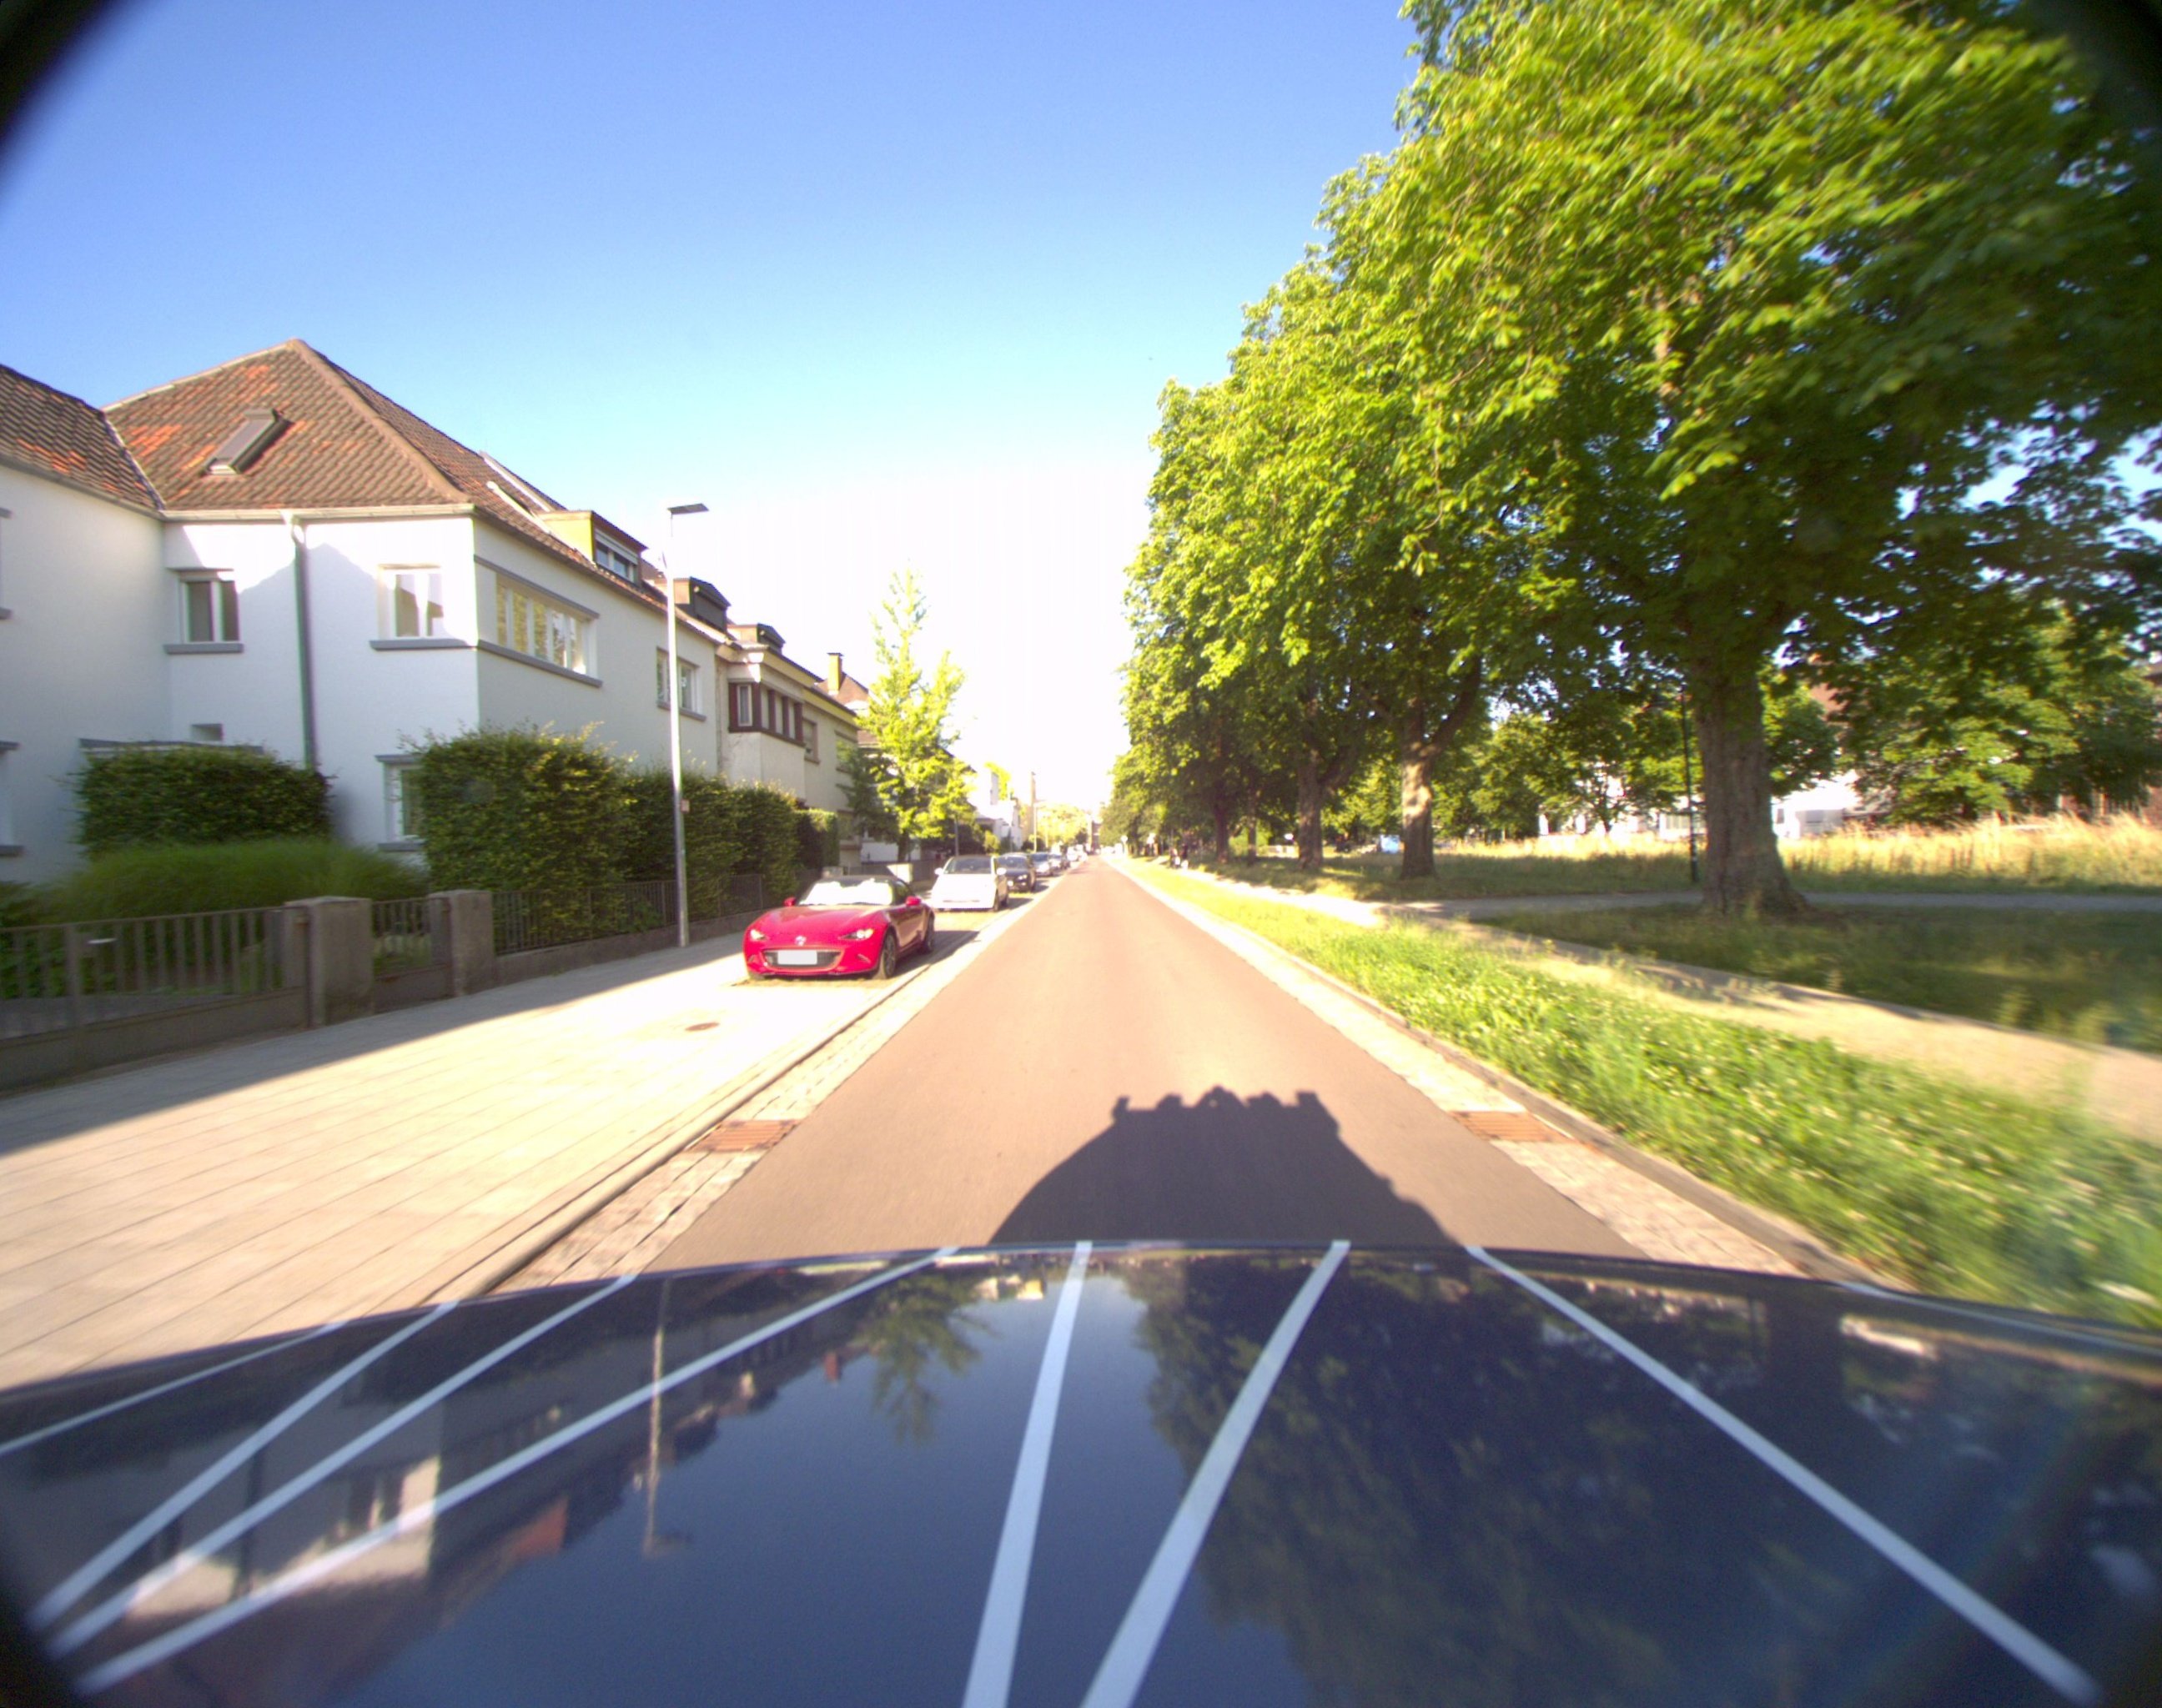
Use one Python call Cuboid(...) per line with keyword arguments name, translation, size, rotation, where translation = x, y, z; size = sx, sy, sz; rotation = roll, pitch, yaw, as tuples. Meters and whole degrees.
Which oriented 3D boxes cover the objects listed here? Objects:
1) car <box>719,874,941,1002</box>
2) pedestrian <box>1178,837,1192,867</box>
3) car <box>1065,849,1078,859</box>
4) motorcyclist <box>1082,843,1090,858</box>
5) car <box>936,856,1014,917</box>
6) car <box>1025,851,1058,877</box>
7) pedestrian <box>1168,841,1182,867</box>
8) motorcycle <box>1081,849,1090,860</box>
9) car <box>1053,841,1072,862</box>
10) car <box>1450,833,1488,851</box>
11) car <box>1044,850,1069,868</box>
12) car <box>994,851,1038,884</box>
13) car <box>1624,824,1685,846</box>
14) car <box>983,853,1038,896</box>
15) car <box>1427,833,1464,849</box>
Cuboid(name="car", translation=(-3.173, 0.994, 10.480), size=(1.702, 1.250, 3.879), rotation=(-1, 1, 1))
Cuboid(name="pedestrian", translation=(6.625, -0.129, 48.456), size=(0.625, 1.841, 0.606), rotation=(-1, 2, 40))
Cuboid(name="car", translation=(-1.398, -0.010, 114.405), size=(1.844, 1.471, 3.763), rotation=(-2, 0, 0))
Cuboid(name="motorcyclist", translation=(0.603, -0.473, 99.911), size=(0.961, 2.002, 1.273), rotation=(-3, 1, 0))
Cuboid(name="car", translation=(-2.794, 0.823, 20.647), size=(1.508, 1.471, 3.492), rotation=(0, 1, 2))
Cuboid(name="car", translation=(-2.395, 0.576, 46.398), size=(1.665, 1.526, 3.833), rotation=(0, 1, 2))
Cuboid(name="pedestrian", translation=(5.886, 0.008, 47.429), size=(0.625, 1.621, 0.606), rotation=(-2, 2, 27))
Cuboid(name="motorcycle", translation=(0.627, 0.032, 100.131), size=(1.077, 1.373, 2.463), rotation=(-3, 1, 0))
Cuboid(name="car", translation=(-2.027, -0.246, 83.293), size=(1.844, 2.196, 3.764), rotation=(-2, 1, 2))
Cuboid(name="car", translation=(38.552, -1.182, 75.530), size=(1.766, 1.619, 4.000), rotation=(-2, 0, 1))
Cuboid(name="car", translation=(-2.089, 0.416, 66.021), size=(1.844, 1.471, 3.764), rotation=(-2, 0, 3))
Cuboid(name="car", translation=(-3.146, 0.646, 37.371), size=(1.665, 1.471, 3.764), rotation=(-2, 0, 2))
Cuboid(name="car", translation=(43.237, -1.428, 57.391), size=(1.767, 1.471, 3.795), rotation=(-3, 1, 1))
Cuboid(name="car", translation=(-2.686, 0.743, 29.837), size=(1.745, 1.471, 4.056), rotation=(-2, 0, 0))
Cuboid(name="car", translation=(38.666, -1.379, 80.713), size=(1.873, 1.619, 4.426), rotation=(-2, 0, 1))
